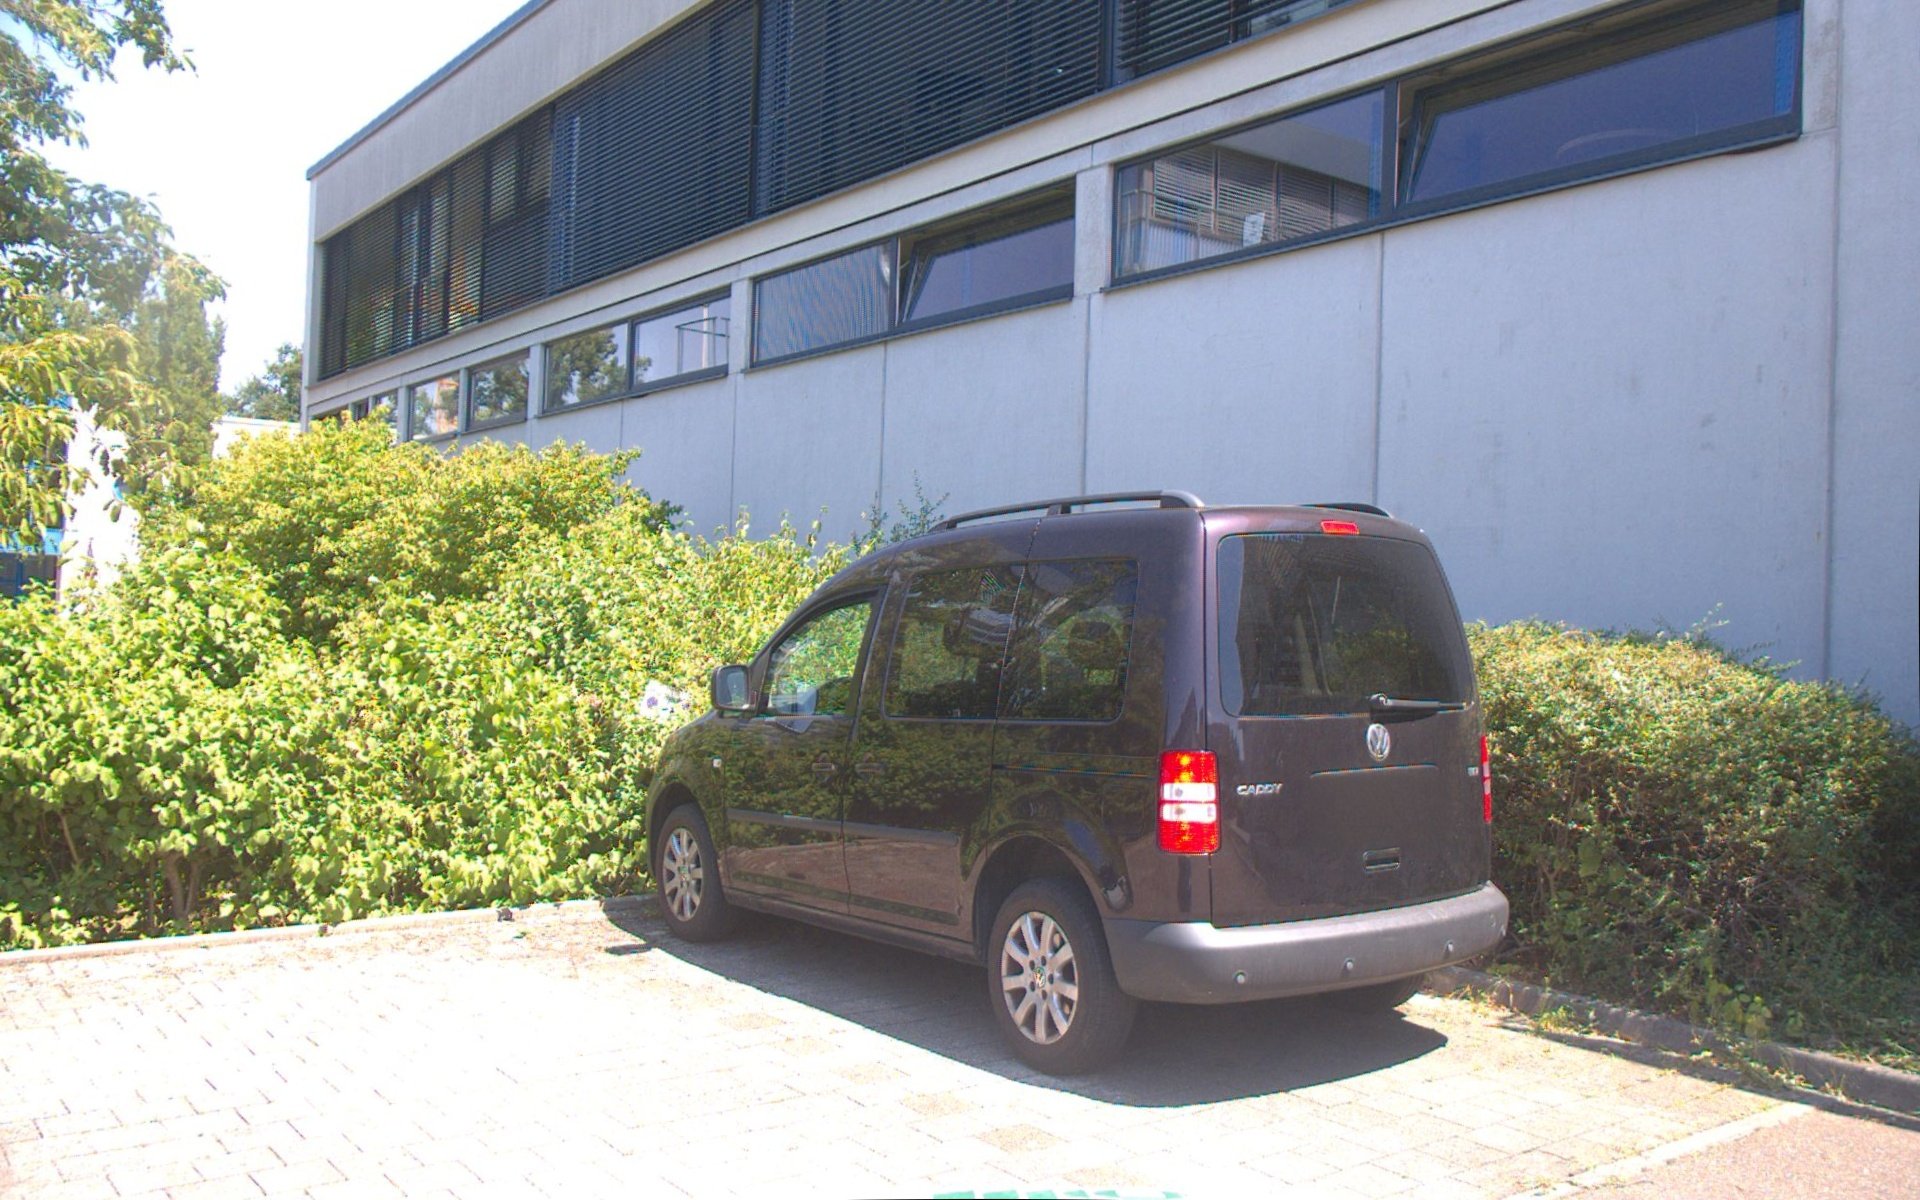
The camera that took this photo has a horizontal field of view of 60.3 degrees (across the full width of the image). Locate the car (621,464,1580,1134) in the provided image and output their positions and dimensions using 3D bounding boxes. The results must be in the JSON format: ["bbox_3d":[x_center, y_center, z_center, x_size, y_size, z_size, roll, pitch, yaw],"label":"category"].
[{"bbox_3d":[0.272,0.566,6.743,1.730,1.869,3.947,1,-1,-37],"label":"car"}]
